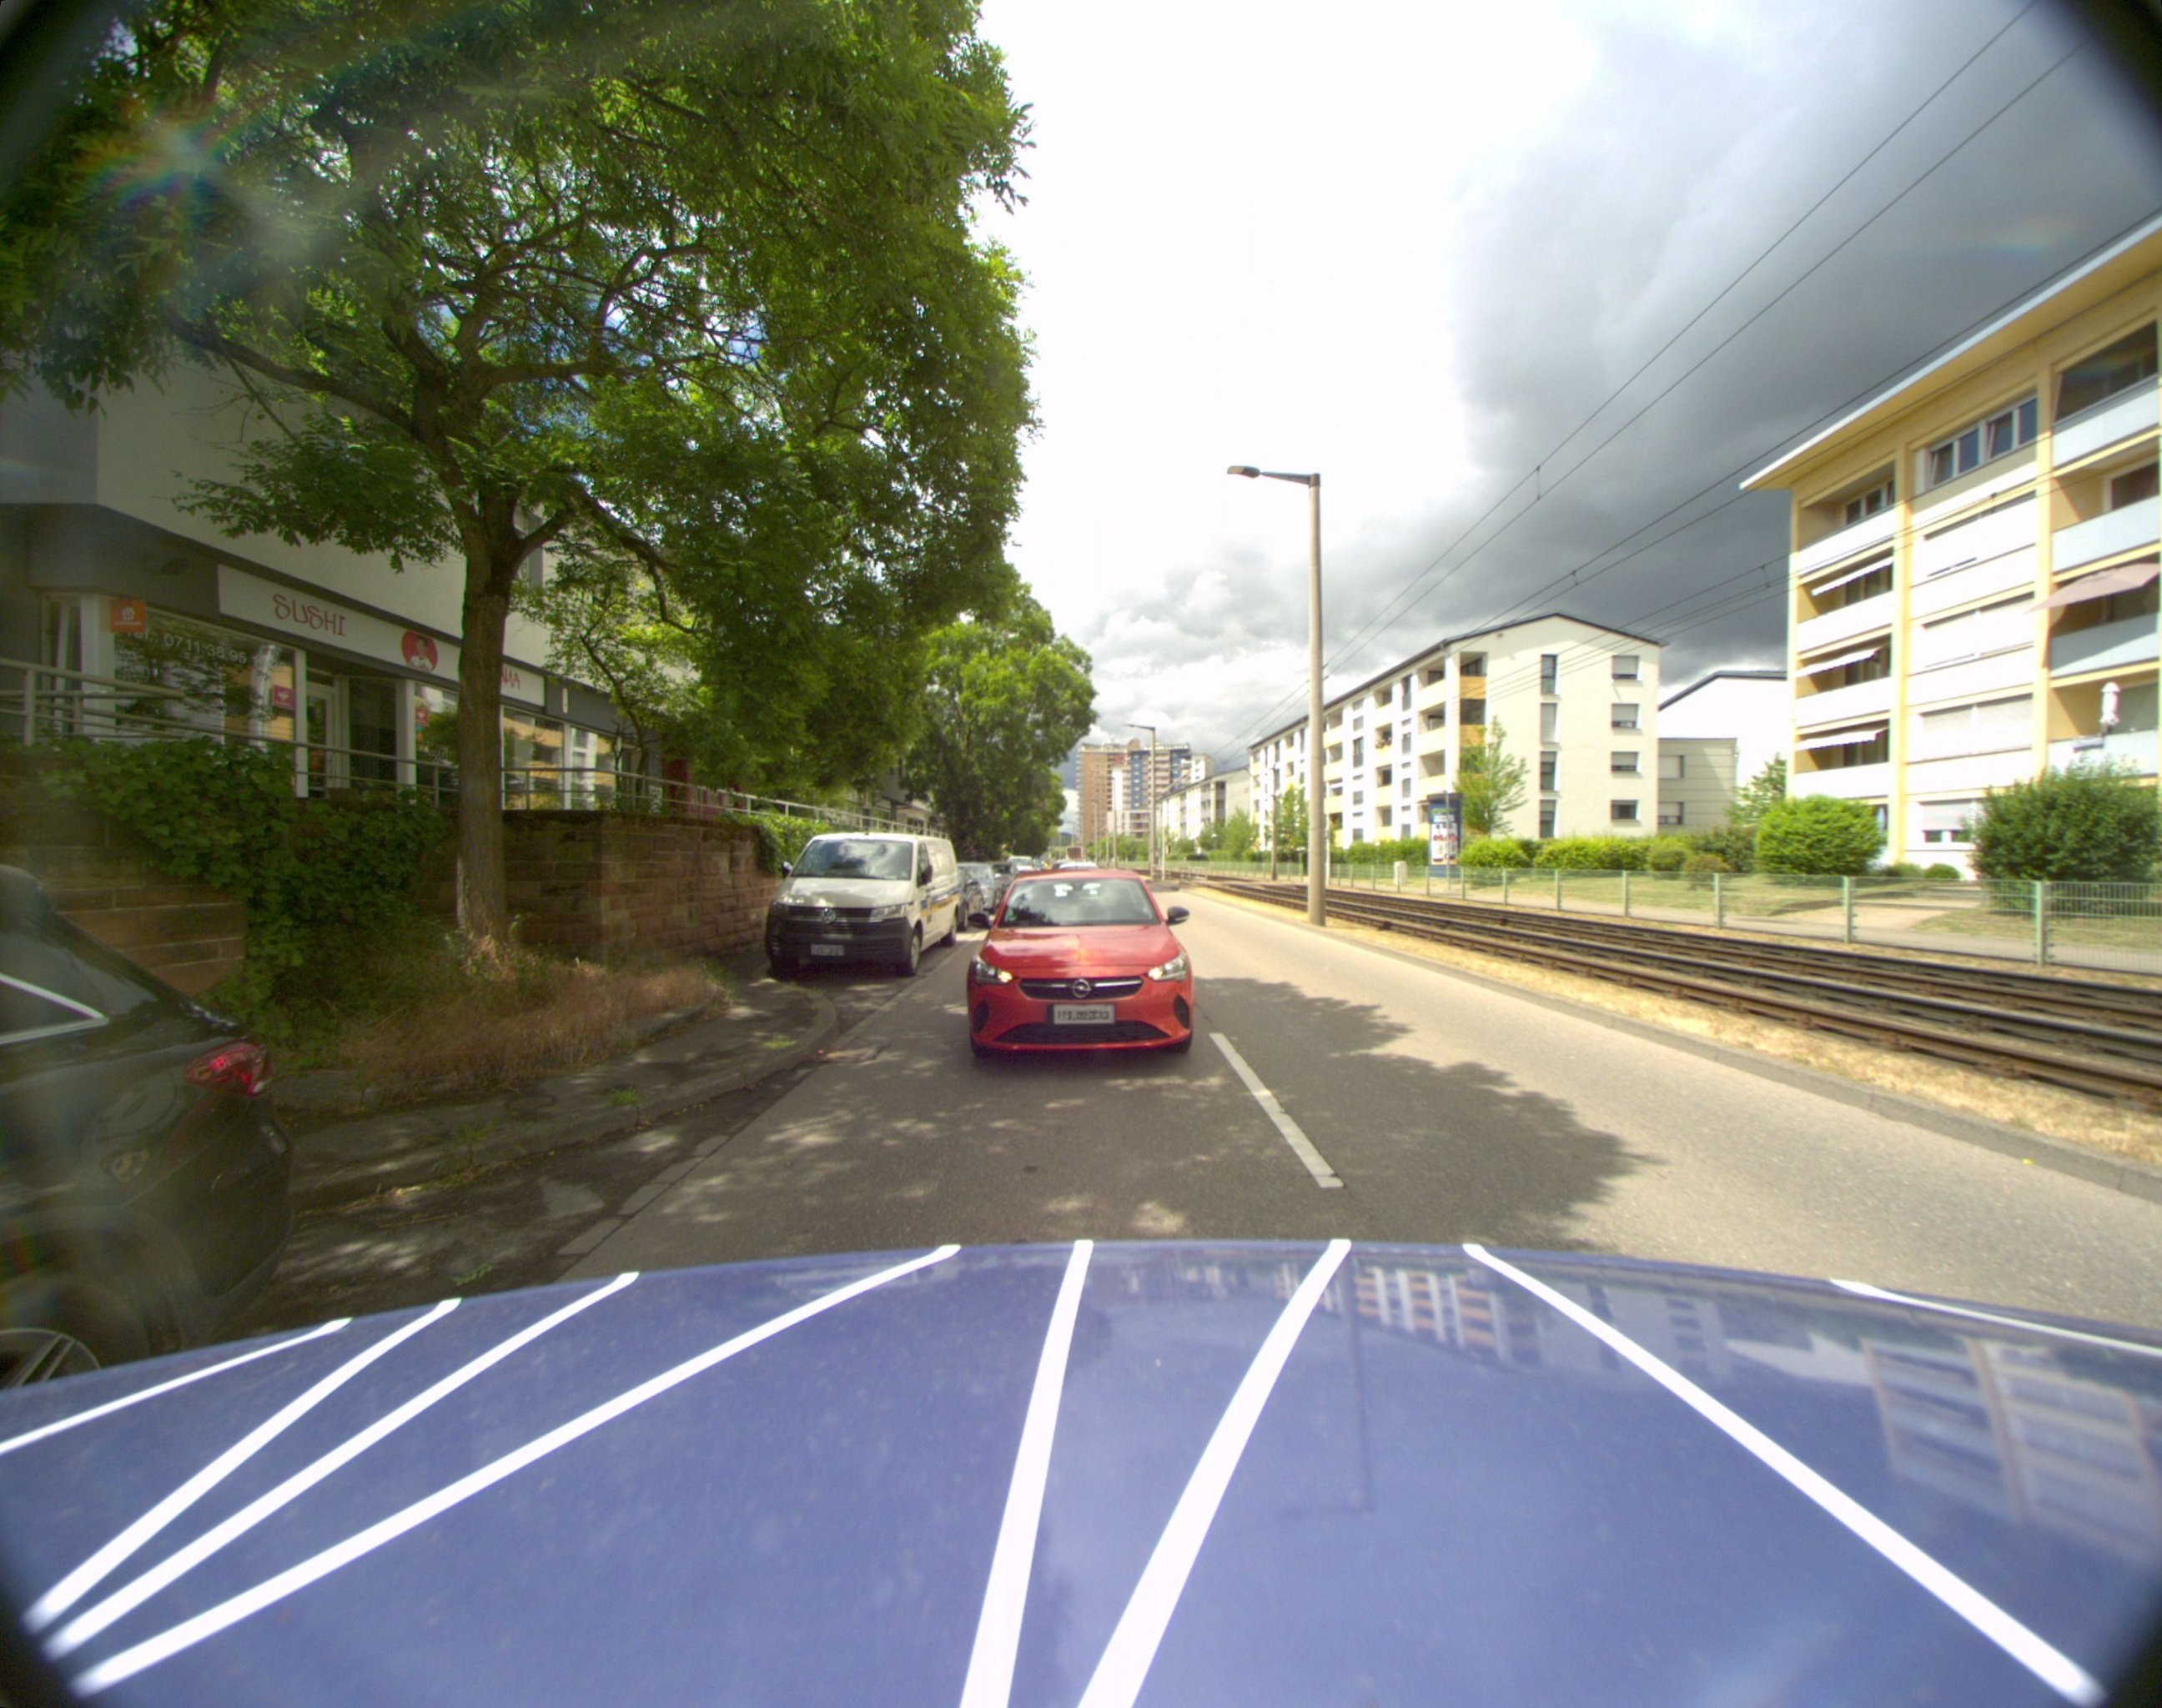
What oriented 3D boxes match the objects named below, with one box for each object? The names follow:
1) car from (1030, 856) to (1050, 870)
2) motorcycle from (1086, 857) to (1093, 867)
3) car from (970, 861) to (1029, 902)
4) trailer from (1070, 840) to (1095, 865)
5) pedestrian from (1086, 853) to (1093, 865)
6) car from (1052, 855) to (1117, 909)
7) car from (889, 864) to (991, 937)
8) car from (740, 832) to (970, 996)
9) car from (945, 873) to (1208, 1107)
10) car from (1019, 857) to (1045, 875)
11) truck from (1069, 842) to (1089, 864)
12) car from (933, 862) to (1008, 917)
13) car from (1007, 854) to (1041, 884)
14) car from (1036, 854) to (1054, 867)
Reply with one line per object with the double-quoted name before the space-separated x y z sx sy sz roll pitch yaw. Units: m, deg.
"car" -4.259 0.886 79.097 1.784 1.420 4.147 -1 0 0
"motorcycle" 1.110 0.989 95.364 0.783 1.181 1.869 -1 0 -1
"car" -3.102 1.004 29.681 1.784 1.420 4.147 -1 0 0
"trailer" 0.101 -0.159 114.256 2.876 3.428 14.611 -2 0 -3
"pedestrian" 1.095 0.656 95.334 0.737 1.408 0.927 -2 1 -1
"car" 0.044 0.853 25.194 1.927 1.543 3.999 -2 0 -2
"car" -3.108 0.971 17.403 1.578 1.420 3.734 -1 0 0
"car" -3.093 0.720 11.679 1.978 1.958 5.013 -1 0 0
"car" 0.011 0.952 7.046 1.723 1.434 4.000 -1 0 1
"car" -3.902 0.943 61.159 1.784 1.420 4.147 -1 0 0
"truck" -0.323 -0.168 122.540 2.853 3.428 4.414 -2 0 -3
"car" -3.192 0.987 22.669 1.785 1.420 4.144 -1 0 -2
"car" -3.352 0.846 45.001 1.819 1.643 4.146 0 0 -2
"car" -4.006 0.746 86.000 1.784 1.420 4.147 -1 0 0
